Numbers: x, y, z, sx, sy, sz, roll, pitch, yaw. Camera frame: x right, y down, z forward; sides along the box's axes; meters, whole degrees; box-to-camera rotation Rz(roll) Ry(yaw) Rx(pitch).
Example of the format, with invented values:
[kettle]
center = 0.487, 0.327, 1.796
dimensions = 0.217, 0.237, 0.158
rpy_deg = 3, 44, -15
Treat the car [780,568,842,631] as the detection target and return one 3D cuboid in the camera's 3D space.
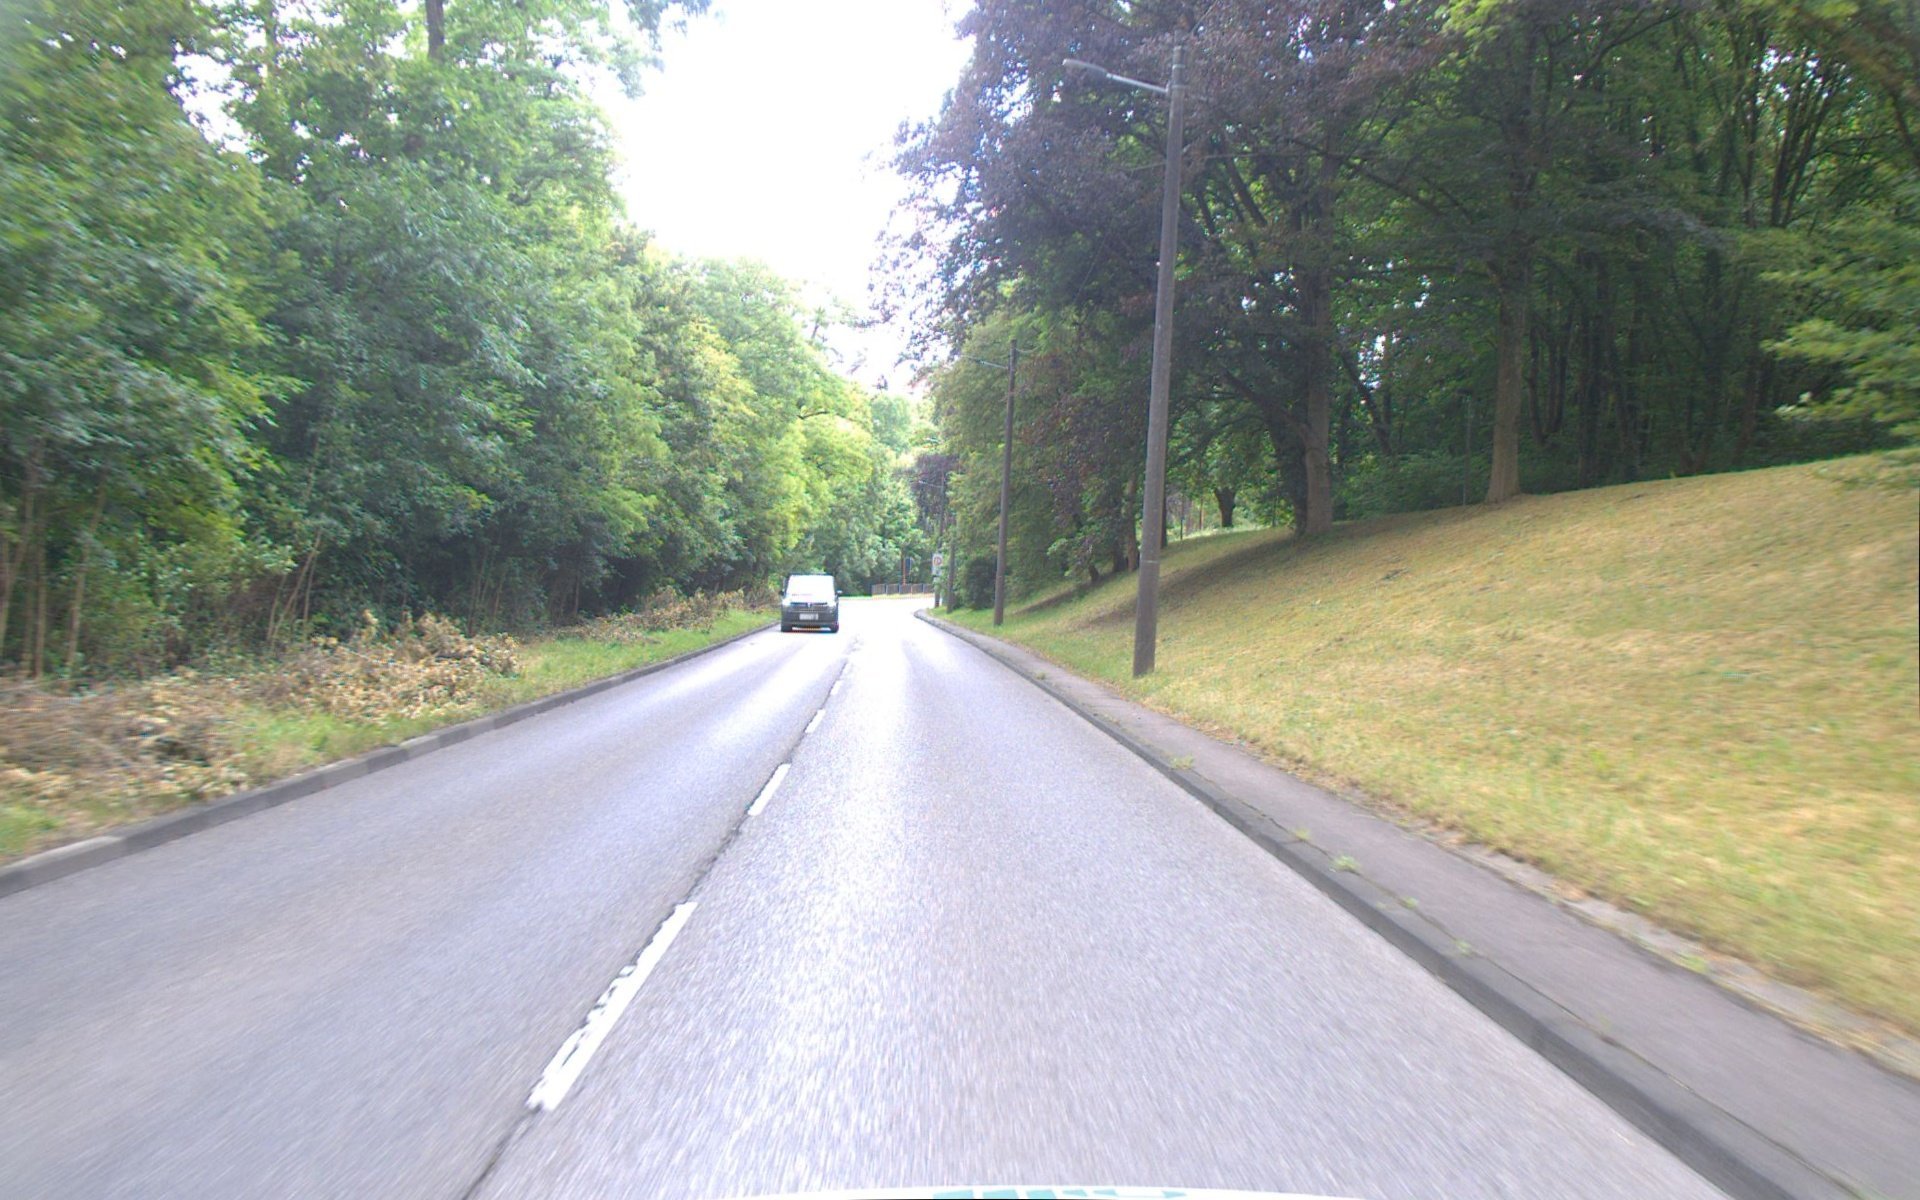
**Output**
[car]
center = -5.005, -0.016, 56.054
dimensions = 1.954, 1.982, 4.941
rpy_deg = 2, 0, -4
